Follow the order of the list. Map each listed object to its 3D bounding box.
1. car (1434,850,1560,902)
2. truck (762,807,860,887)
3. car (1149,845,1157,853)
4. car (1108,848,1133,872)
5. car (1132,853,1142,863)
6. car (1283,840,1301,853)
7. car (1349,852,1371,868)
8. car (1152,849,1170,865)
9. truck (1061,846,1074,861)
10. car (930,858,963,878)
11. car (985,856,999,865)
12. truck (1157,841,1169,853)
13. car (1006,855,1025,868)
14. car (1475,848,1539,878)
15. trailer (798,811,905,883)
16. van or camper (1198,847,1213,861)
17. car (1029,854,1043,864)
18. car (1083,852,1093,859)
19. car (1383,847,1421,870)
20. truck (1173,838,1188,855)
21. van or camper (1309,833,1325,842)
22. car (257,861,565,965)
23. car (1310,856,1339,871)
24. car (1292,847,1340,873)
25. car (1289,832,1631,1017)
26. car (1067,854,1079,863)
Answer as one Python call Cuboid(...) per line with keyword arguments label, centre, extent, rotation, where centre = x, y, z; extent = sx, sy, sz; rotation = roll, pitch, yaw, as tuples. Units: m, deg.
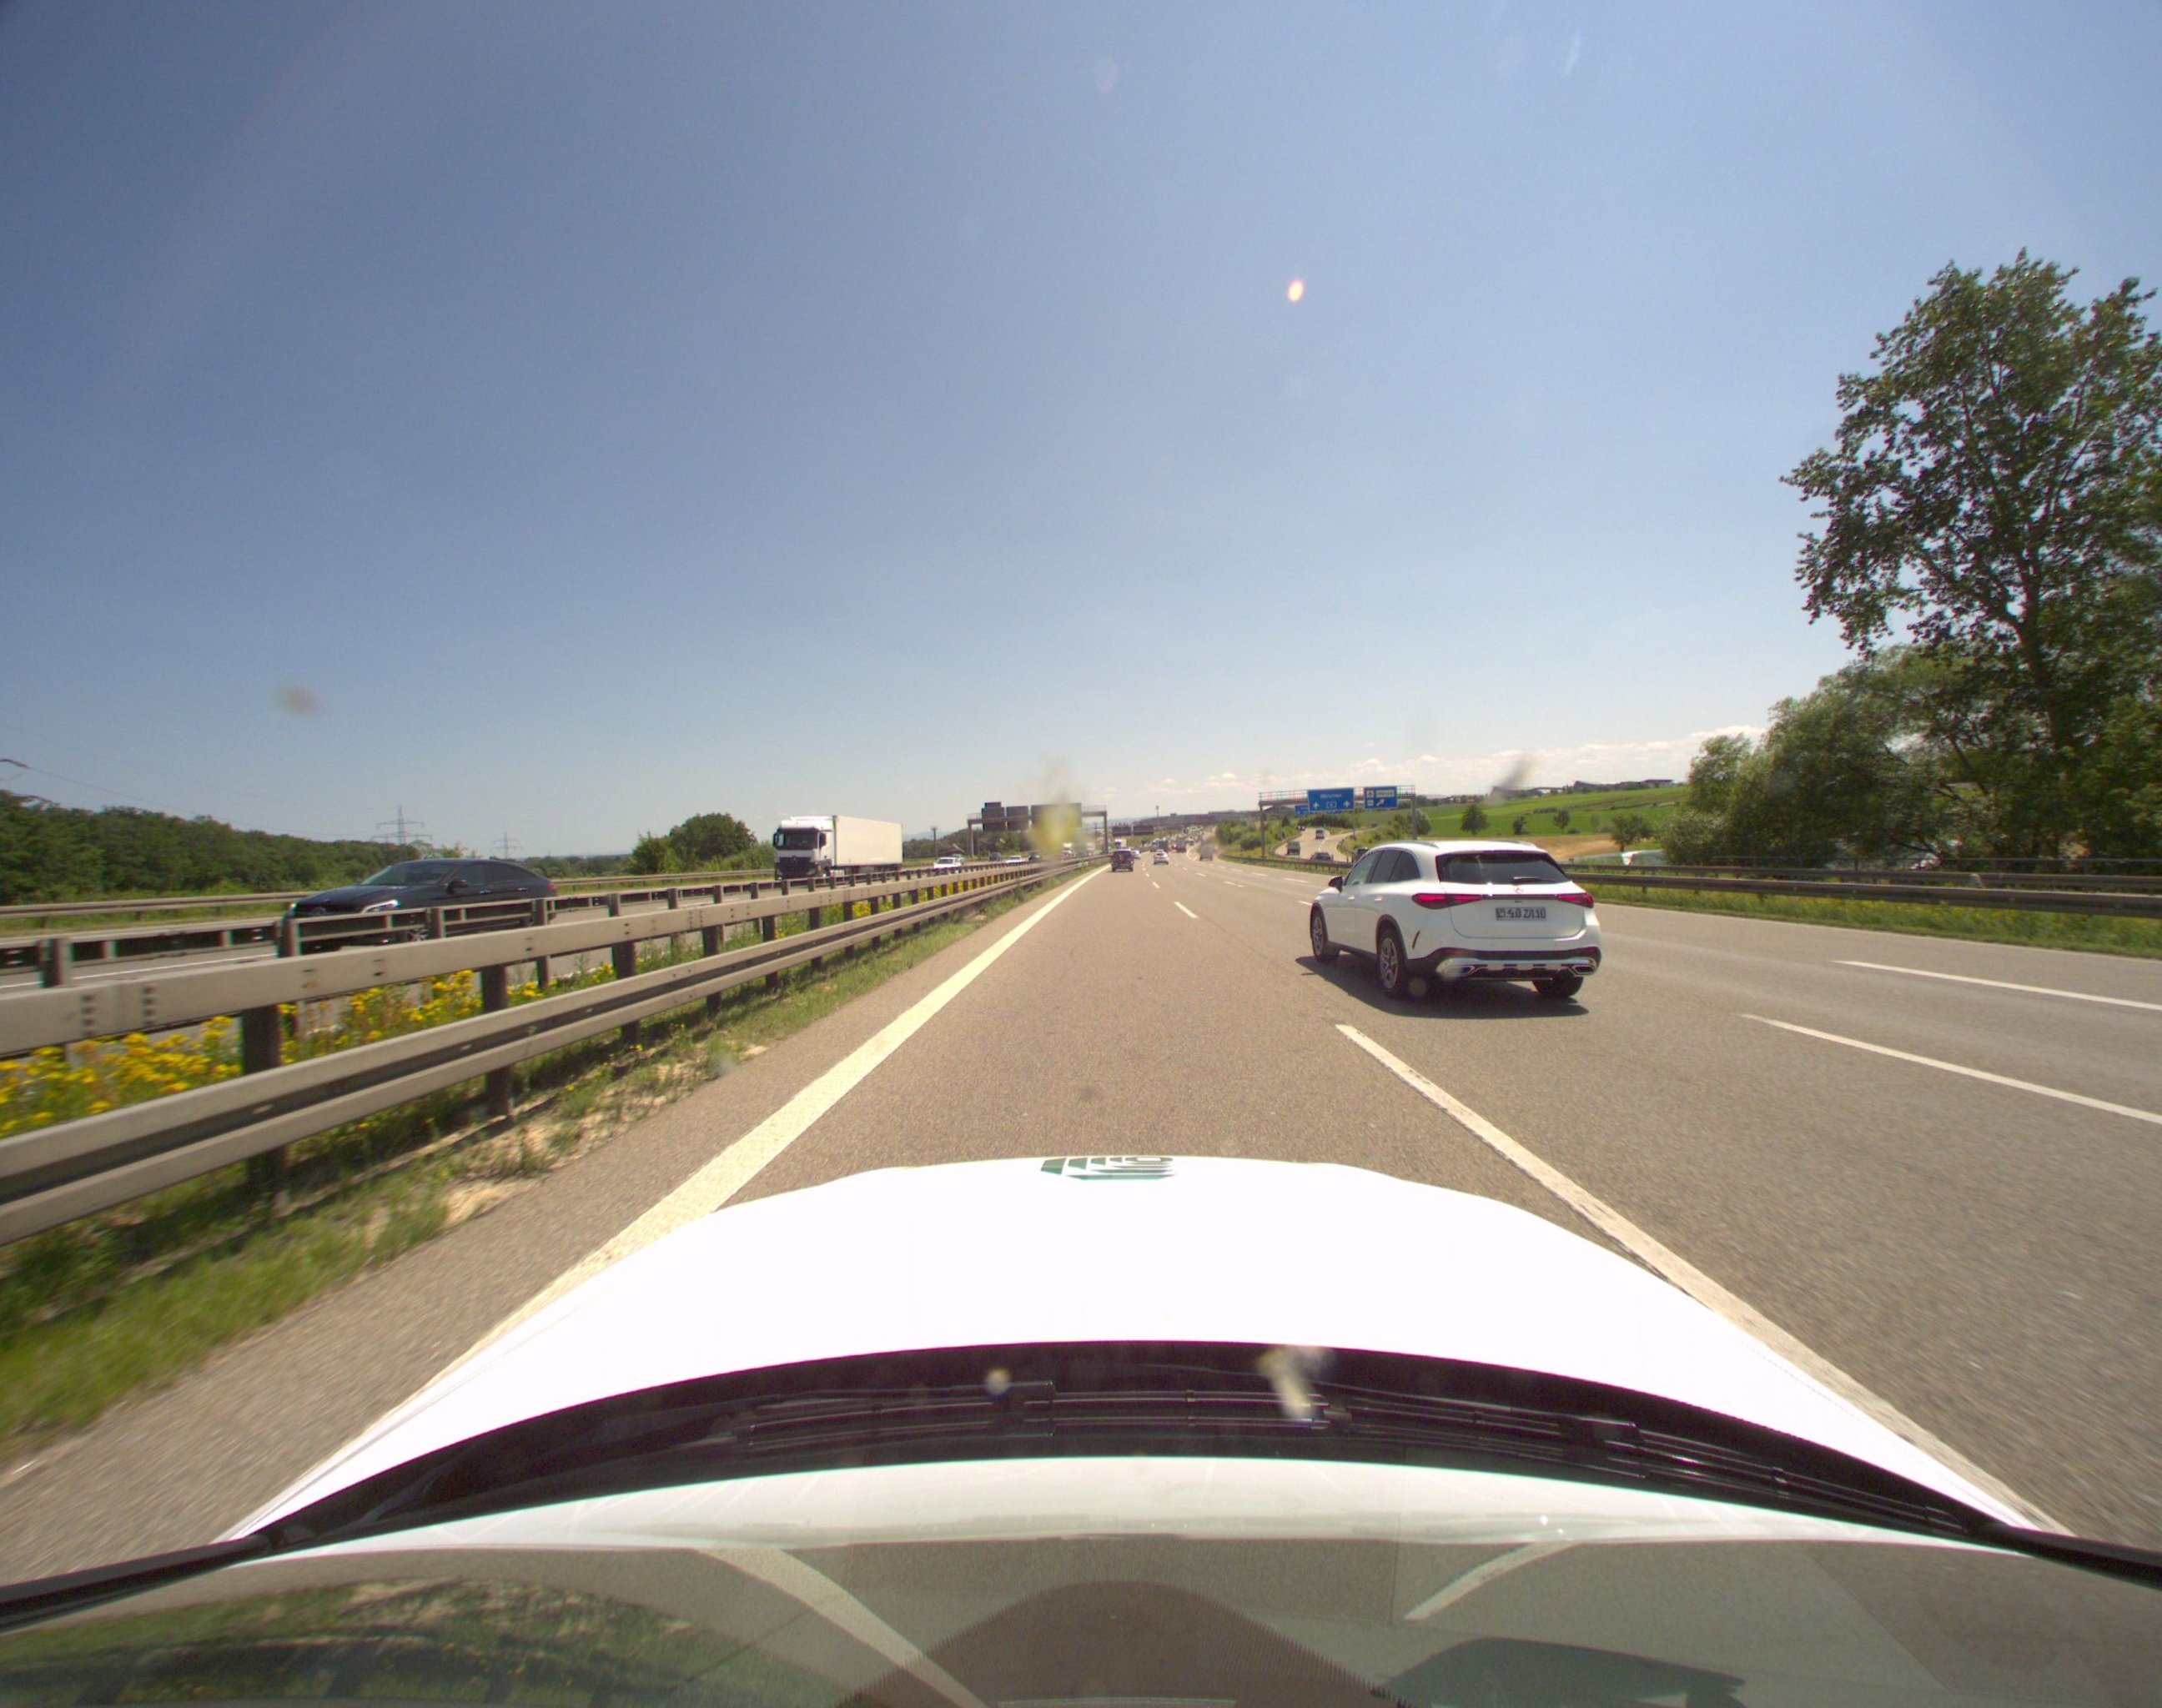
Cuboid(label="car", centre=(12.845, 0.632, 25.513), extent=(1.778, 1.437, 4.853), rotation=(-1, 0, 4))
Cuboid(label="truck", centre=(-15.379, -0.393, 46.975), extent=(3.022, 4.240, 6.690), rotation=(-1, 0, 3))
Cuboid(label="car", centre=(20.978, -1.414, 237.003), extent=(2.175, 2.002, 4.009), rotation=(-1, 3, 6))
Cuboid(label="car", centre=(3.354, 0.471, 67.833), extent=(1.918, 1.919, 4.953), rotation=(-1, 0, 4))
Cuboid(label="car", centre=(9.674, 0.675, 140.047), extent=(1.567, 1.552, 3.971), rotation=(-1, 0, 7))
Cuboid(label="car", centre=(33.978, -1.143, 131.367), extent=(1.986, 2.014, 4.002), rotation=(-1, 0, 2))
Cuboid(label="car", centre=(33.931, 0.723, 99.087), extent=(1.926, 1.923, 4.193), rotation=(-1, 0, 12))
Cuboid(label="car", centre=(9.654, 0.382, 98.642), extent=(1.918, 1.919, 4.522), rotation=(-1, 0, 4))
Cuboid(label="truck", centre=(-2.976, -0.149, 186.800), extent=(2.366, 3.277, 7.668), rotation=(-1, 0, 3))
Cuboid(label="car", centre=(-10.309, 1.060, 62.699), extent=(1.734, 1.489, 4.010), rotation=(-1, 0, 2))
Cuboid(label="car", centre=(-15.685, 1.188, 143.845), extent=(1.839, 1.531, 4.227), rotation=(-1, 0, 3))
Cuboid(label="truck", centre=(21.401, -1.742, 211.599), extent=(2.687, 3.109, 10.682), rotation=(-1, 0, 8))
Cuboid(label="car", centre=(-7.745, 0.883, 96.849), extent=(1.650, 1.403, 4.763), rotation=(-1, 0, 3))
Cuboid(label="car", centre=(24.104, 0.491, 46.259), extent=(1.692, 1.575, 4.133), rotation=(-1, 0, 4))
Cuboid(label="trailer", centre=(-14.903, -0.406, 54.328), extent=(3.022, 4.240, 12.258), rotation=(-1, 0, 3))
Cuboid(label="van or camper", centre=(19.083, -0.033, 124.671), extent=(2.144, 2.014, 4.312), rotation=(-1, 0, 7))
Cuboid(label="car", centre=(-7.684, 0.816, 138.567), extent=(1.839, 1.655, 4.915), rotation=(-1, 0, 3))
Cuboid(label="car", centre=(1.553, 0.382, 179.653), extent=(1.740, 1.625, 4.835), rotation=(-1, 0, 3))
Cuboid(label="car", centre=(28.426, 0.380, 72.218), extent=(1.930, 1.923, 4.183), rotation=(-1, 0, 4))
Cuboid(label="truck", centre=(27.657, -2.254, 225.983), extent=(4.017, 4.261, 11.786), rotation=(-1, 2, 8))
Cuboid(label="van or camper", centre=(57.149, -3.983, 197.009), extent=(2.522, 2.014, 4.458), rotation=(-1, 0, -2))
Cuboid(label="car", centre=(-12.582, 0.998, 15.815), extent=(1.986, 1.644, 4.666), rotation=(-1, 0, 2))
Cuboid(label="car", centre=(27.223, 1.094, 91.145), extent=(1.987, 1.596, 3.999), rotation=(-1, 0, 0))
Cuboid(label="car", centre=(15.954, 0.419, 55.480), extent=(1.988, 1.690, 3.997), rotation=(-1, 0, -2))
Cuboid(label="car", centre=(4.067, 0.651, 9.866), extent=(1.891, 1.647, 4.999), rotation=(-1, 0, 1))
Cuboid(label="car", centre=(-1.401, 0.801, 141.512), extent=(1.668, 1.614, 4.366), rotation=(-1, 0, 3))
